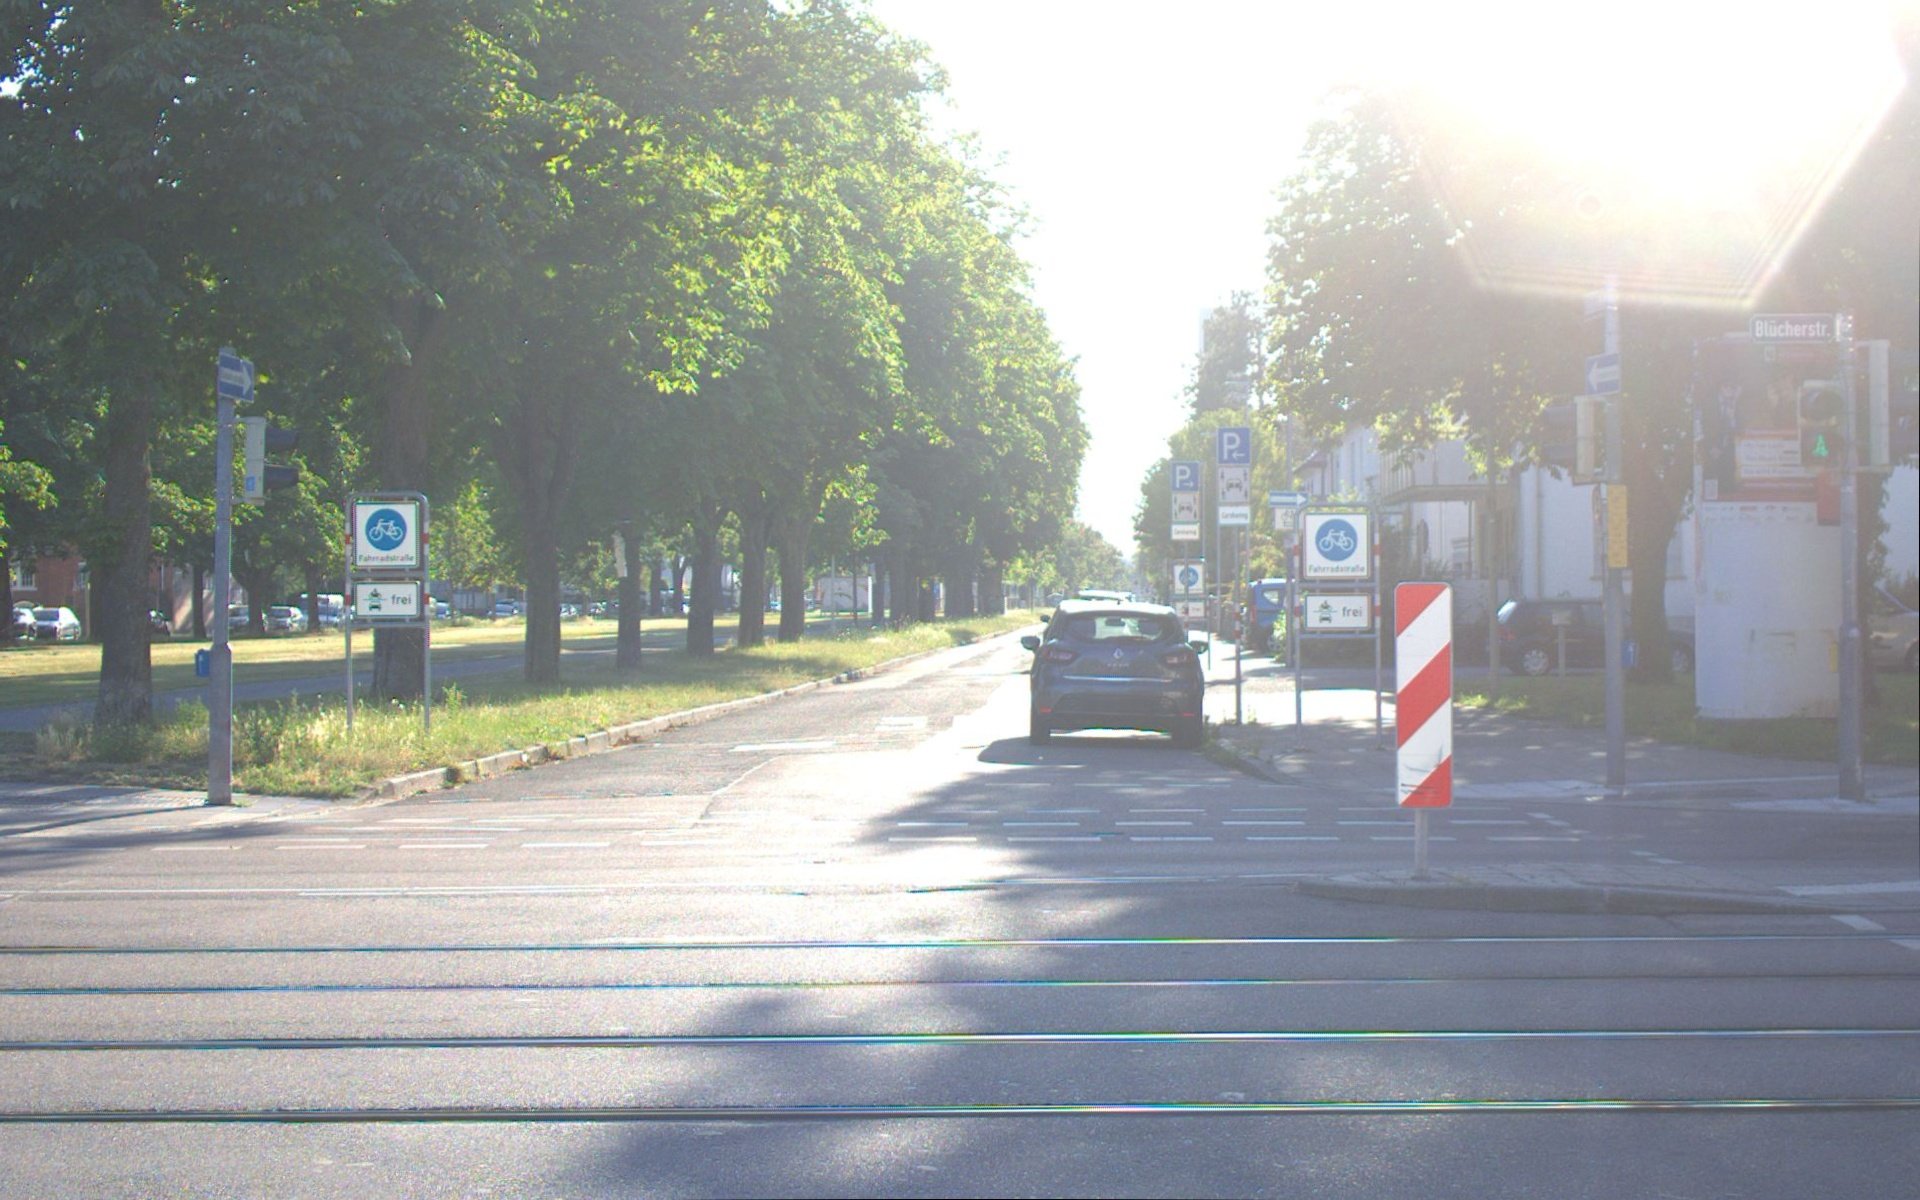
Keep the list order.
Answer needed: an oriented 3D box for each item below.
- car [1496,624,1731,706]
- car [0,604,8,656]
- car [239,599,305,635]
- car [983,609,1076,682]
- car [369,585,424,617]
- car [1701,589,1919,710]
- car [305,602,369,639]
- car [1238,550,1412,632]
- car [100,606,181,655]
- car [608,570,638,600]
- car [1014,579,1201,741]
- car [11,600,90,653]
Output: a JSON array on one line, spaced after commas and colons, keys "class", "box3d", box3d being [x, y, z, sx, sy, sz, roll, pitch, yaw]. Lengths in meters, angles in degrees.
[{"class": "car", "box3d": [11.805, 1.167, 62.275, 3.987, 1.442, 1.716, 0, -1, 3]}, {"class": "car", "box3d": [-32.335, 0.930, 110.718, 1.879, 1.668, 4.314, 2, -1, 3]}, {"class": "car", "box3d": [-33.593, 0.855, 167.914, 1.994, 1.653, 4.354, 2, -1, 4]}, {"class": "car", "box3d": [1.437, 0.916, 69.367, 1.710, 1.355, 4.202, 2, -1, 3]}, {"class": "car", "box3d": [-29.731, 0.037, 181.541, 1.994, 1.653, 4.570, 0, 0, 2]}, {"class": "car", "box3d": [14.306, 0.808, 55.635, 4.242, 1.868, 2.030, 1, -1, 3]}, {"class": "car", "box3d": [-29.327, 0.961, 161.821, 2.023, 1.653, 3.983, 2, -1, 3]}, {"class": "car", "box3d": [8.908, -0.209, 84.132, 3.987, 1.816, 1.759, -1, -6, -1]}, {"class": "car", "box3d": [-31.247, 1.160, 131.136, 1.811, 1.775, 4.121, 2, -1, 4]}, {"class": "car", "box3d": [-24.292, -1.074, 247.759, 1.654, 1.932, 3.567, 2, -2, 2]}, {"class": "car", "box3d": [1.584, 0.611, 35.536, 1.726, 1.506, 4.539, 2, -1, 4]}, {"class": "car", "box3d": [-36.461, 1.073, 137.897, 1.993, 2.007, 4.000, 2, -1, 1]}]
